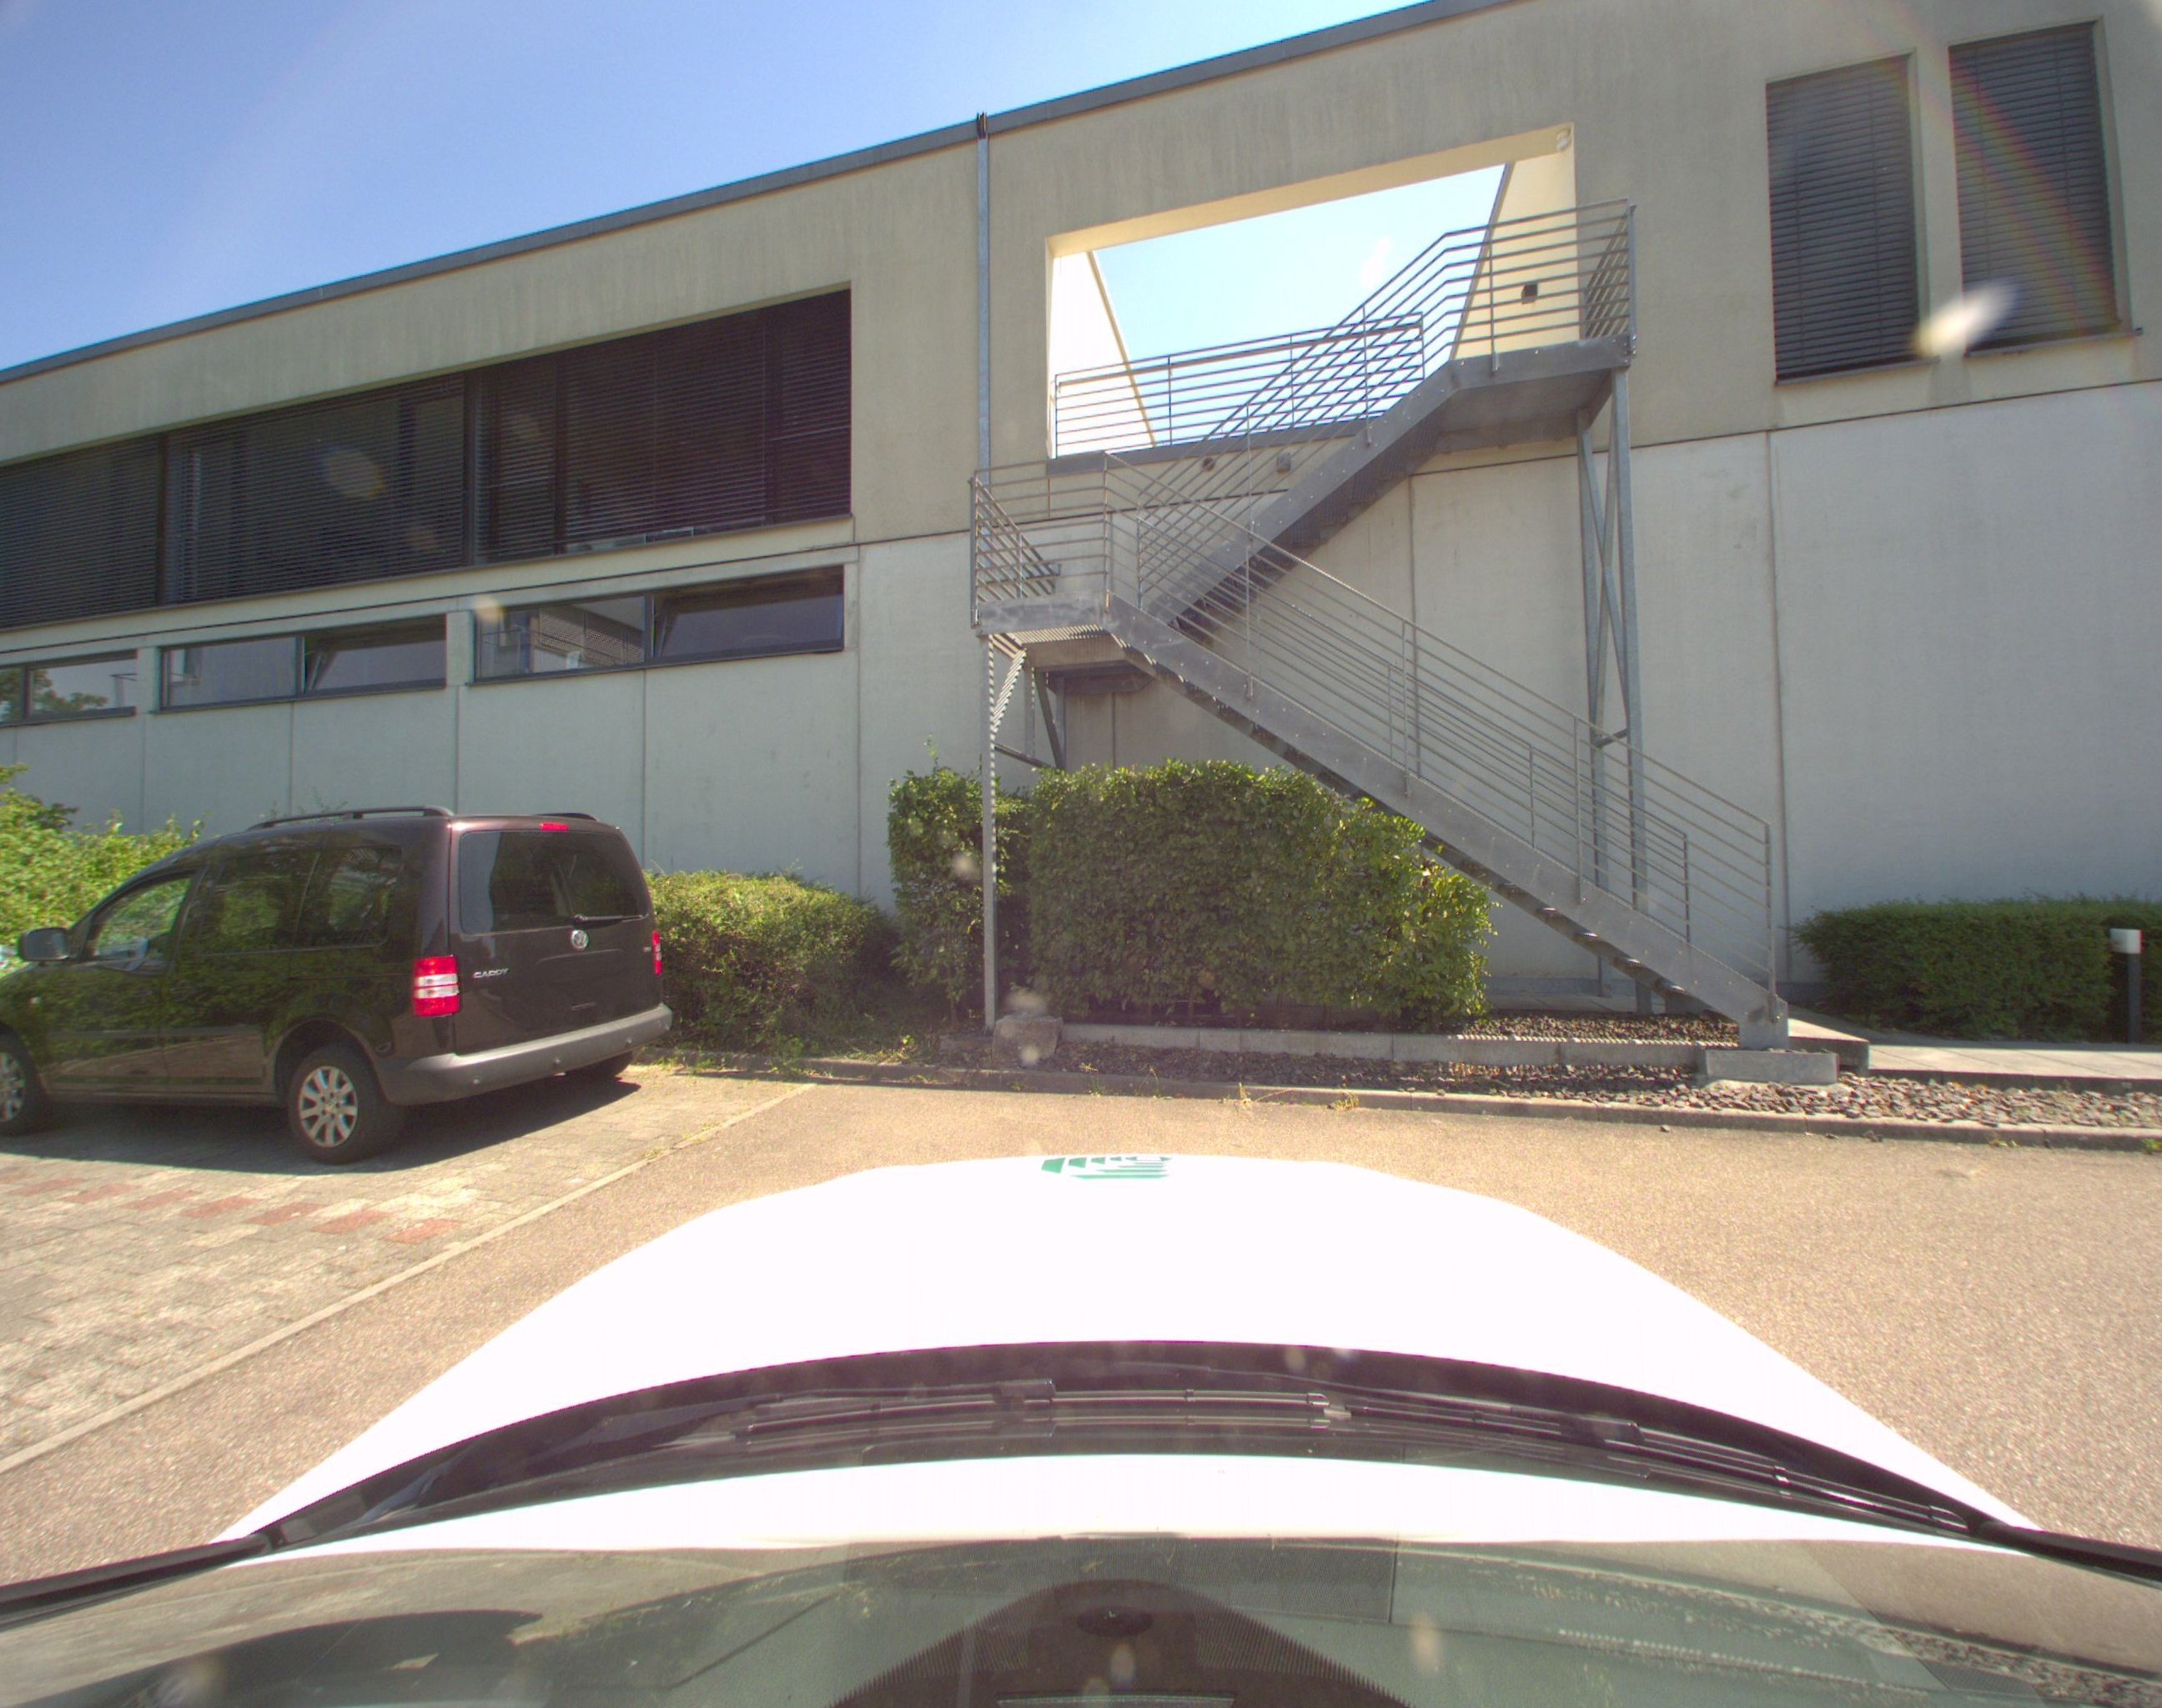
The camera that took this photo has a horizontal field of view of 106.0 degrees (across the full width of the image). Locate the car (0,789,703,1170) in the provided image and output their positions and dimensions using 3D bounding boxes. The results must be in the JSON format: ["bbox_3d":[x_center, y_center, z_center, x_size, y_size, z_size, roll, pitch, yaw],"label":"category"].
[{"bbox_3d":[-4.808,0.657,5.363,4.028,1.884,1.685,-1,-1,15],"label":"car"}]
